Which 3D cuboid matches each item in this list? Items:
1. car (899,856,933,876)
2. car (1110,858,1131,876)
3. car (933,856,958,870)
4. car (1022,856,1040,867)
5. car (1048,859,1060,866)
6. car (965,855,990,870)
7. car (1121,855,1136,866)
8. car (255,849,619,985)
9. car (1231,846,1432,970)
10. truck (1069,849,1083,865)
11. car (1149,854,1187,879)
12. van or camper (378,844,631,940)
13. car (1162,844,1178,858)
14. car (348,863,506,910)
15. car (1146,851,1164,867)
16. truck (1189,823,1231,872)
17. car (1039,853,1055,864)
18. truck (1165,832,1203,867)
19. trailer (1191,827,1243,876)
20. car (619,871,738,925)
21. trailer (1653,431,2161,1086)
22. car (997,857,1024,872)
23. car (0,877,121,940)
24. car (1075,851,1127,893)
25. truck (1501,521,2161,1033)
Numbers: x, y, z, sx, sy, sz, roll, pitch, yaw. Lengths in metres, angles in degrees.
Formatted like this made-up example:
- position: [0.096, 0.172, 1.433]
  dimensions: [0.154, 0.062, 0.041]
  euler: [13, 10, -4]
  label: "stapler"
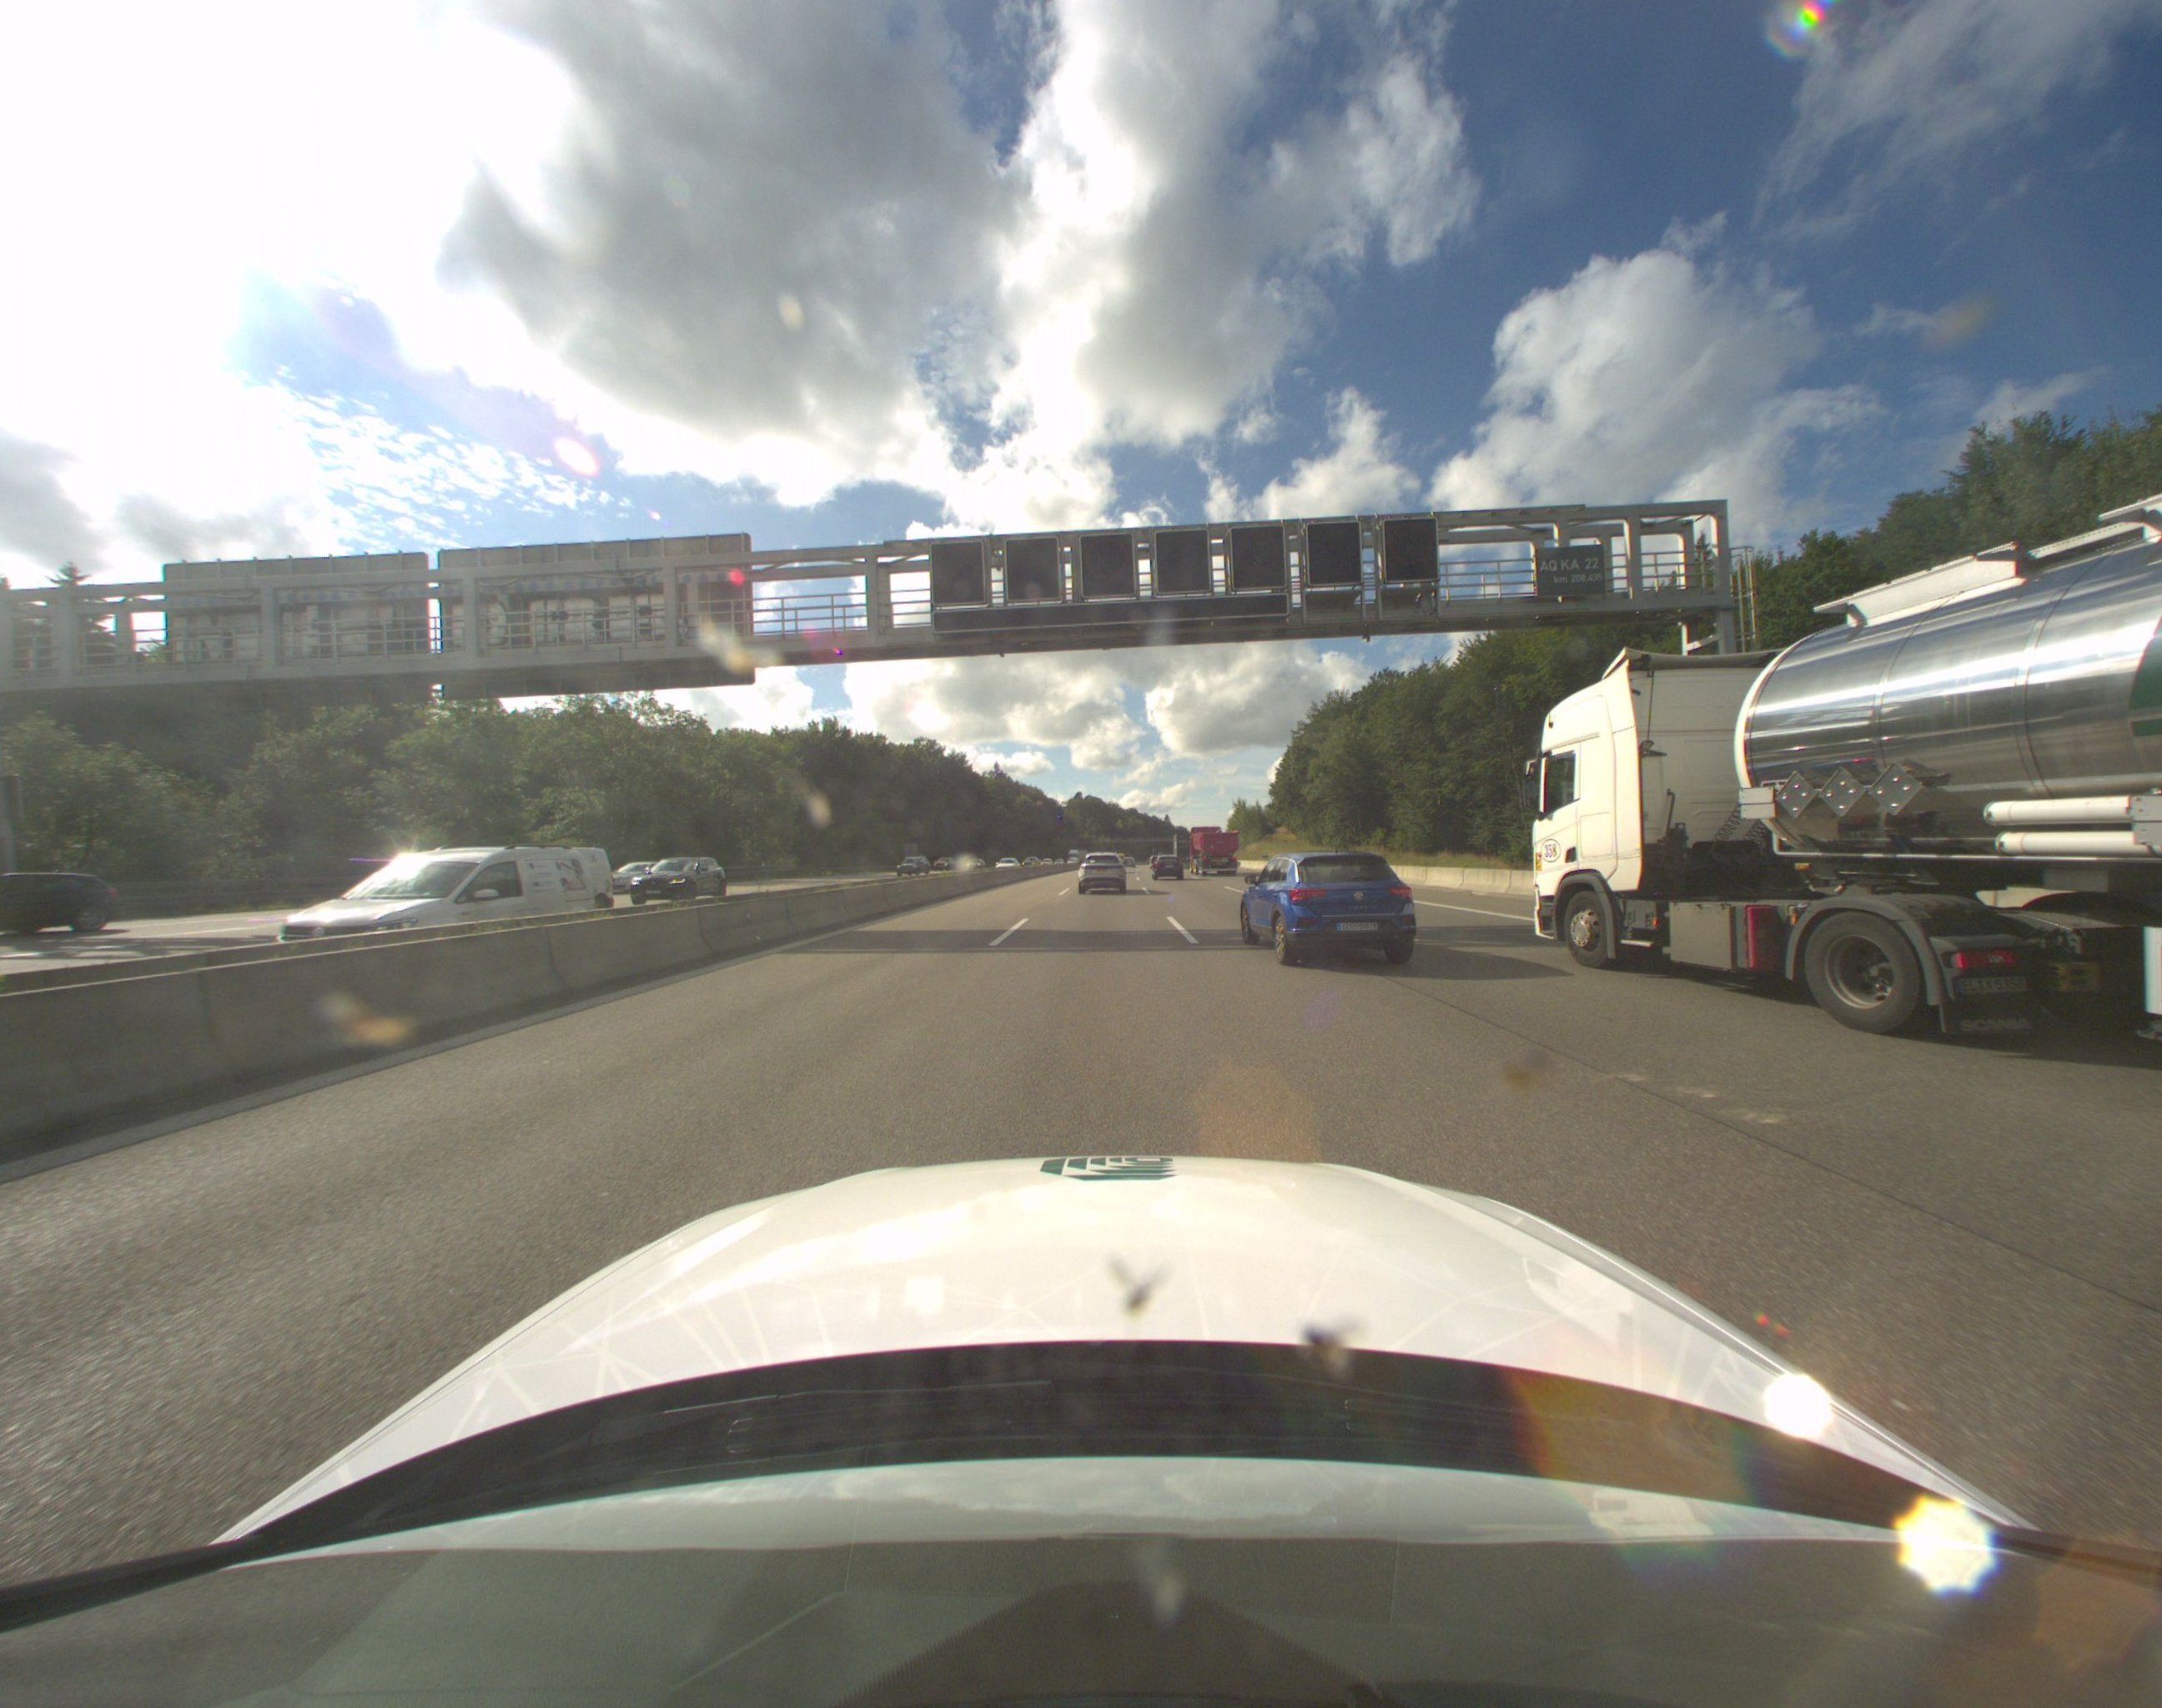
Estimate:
- position: [-14.121, 0.999, 69.829]
  dimensions: [1.659, 1.640, 4.484]
  euler: [-1, 0, 4]
  label: "car"
- position: [3.612, 1.165, 73.601]
  dimensions: [1.814, 1.546, 4.004]
  euler: [-1, 0, 3]
  label: "car"
- position: [-16.698, 1.076, 100.633]
  dimensions: [1.918, 1.716, 4.430]
  euler: [-1, 0, 6]
  label: "car"
- position: [-6.923, 0.995, 113.215]
  dimensions: [1.712, 1.479, 4.640]
  euler: [-1, 0, 7]
  label: "car"
- position: [-5.587, 1.726, 170.935]
  dimensions: [2.062, 1.473, 4.677]
  euler: [-1, 0, 4]
  label: "car"
- position: [-12.433, 0.973, 98.154]
  dimensions: [1.918, 1.716, 4.430]
  euler: [-1, 0, 6]
  label: "car"
- position: [6.849, 0.937, 116.728]
  dimensions: [1.813, 1.457, 4.007]
  euler: [-1, -1, 6]
  label: "car"
- position: [-9.143, 0.767, 12.193]
  dimensions: [1.763, 1.649, 4.521]
  euler: [-1, 0, 1]
  label: "car"
- position: [3.550, 0.675, 12.447]
  dimensions: [1.767, 1.530, 4.458]
  euler: [-1, 0, 1]
  label: "car"
- position: [-1.319, 0.681, 211.043]
  dimensions: [2.692, 4.068, 6.610]
  euler: [-1, 0, 6]
  label: "truck"
- position: [5.277, 0.743, 49.900]
  dimensions: [1.817, 1.457, 3.998]
  euler: [-1, 0, -1]
  label: "car"
- position: [-12.701, 0.747, 18.495]
  dimensions: [1.854, 1.850, 5.159]
  euler: [-1, 0, 3]
  label: "van or camper"
- position: [12.028, -0.404, 109.985]
  dimensions: [1.886, 1.857, 4.103]
  euler: [-1, 0, 2]
  label: "car"
- position: [-22.948, 1.089, 28.847]
  dimensions: [1.695, 1.440, 4.709]
  euler: [-1, 0, 1]
  label: "car"
- position: [8.888, 0.565, 97.747]
  dimensions: [1.886, 1.856, 4.102]
  euler: [-1, 0, 2]
  label: "car"
- position: [10.086, -0.488, 64.352]
  dimensions: [2.698, 3.718, 5.823]
  euler: [-1, 0, 3]
  label: "truck"
- position: [-5.400, 0.728, 131.361]
  dimensions: [1.918, 1.716, 4.431]
  euler: [-1, 0, 6]
  label: "car"
- position: [12.152, -0.521, 96.835]
  dimensions: [3.109, 3.935, 10.408]
  euler: [-1, 0, 0]
  label: "truck"
- position: [9.814, -0.161, 59.664]
  dimensions: [2.698, 3.231, 9.742]
  euler: [-1, 0, 4]
  label: "trailer"
- position: [-14.091, 1.491, 28.806]
  dimensions: [1.691, 1.630, 4.503]
  euler: [-1, 0, 4]
  label: "car"
- position: [7.519, -0.573, 2.952]
  dimensions: [2.640, 3.767, 11.861]
  euler: [-2, 0, 1]
  label: "trailer"
- position: [-6.407, 0.920, 74.642]
  dimensions: [1.715, 1.310, 4.886]
  euler: [-1, 0, 4]
  label: "car"
- position: [-24.037, 1.222, 17.530]
  dimensions: [1.695, 1.288, 4.184]
  euler: [-1, 0, 1]
  label: "car"
- position: [0.907, 0.694, 34.259]
  dimensions: [1.998, 1.616, 5.304]
  euler: [-1, 0, 3]
  label: "car"
- position: [7.632, -0.593, 9.208]
  dimensions: [2.639, 3.823, 6.083]
  euler: [-2, 0, 1]
  label: "truck"
